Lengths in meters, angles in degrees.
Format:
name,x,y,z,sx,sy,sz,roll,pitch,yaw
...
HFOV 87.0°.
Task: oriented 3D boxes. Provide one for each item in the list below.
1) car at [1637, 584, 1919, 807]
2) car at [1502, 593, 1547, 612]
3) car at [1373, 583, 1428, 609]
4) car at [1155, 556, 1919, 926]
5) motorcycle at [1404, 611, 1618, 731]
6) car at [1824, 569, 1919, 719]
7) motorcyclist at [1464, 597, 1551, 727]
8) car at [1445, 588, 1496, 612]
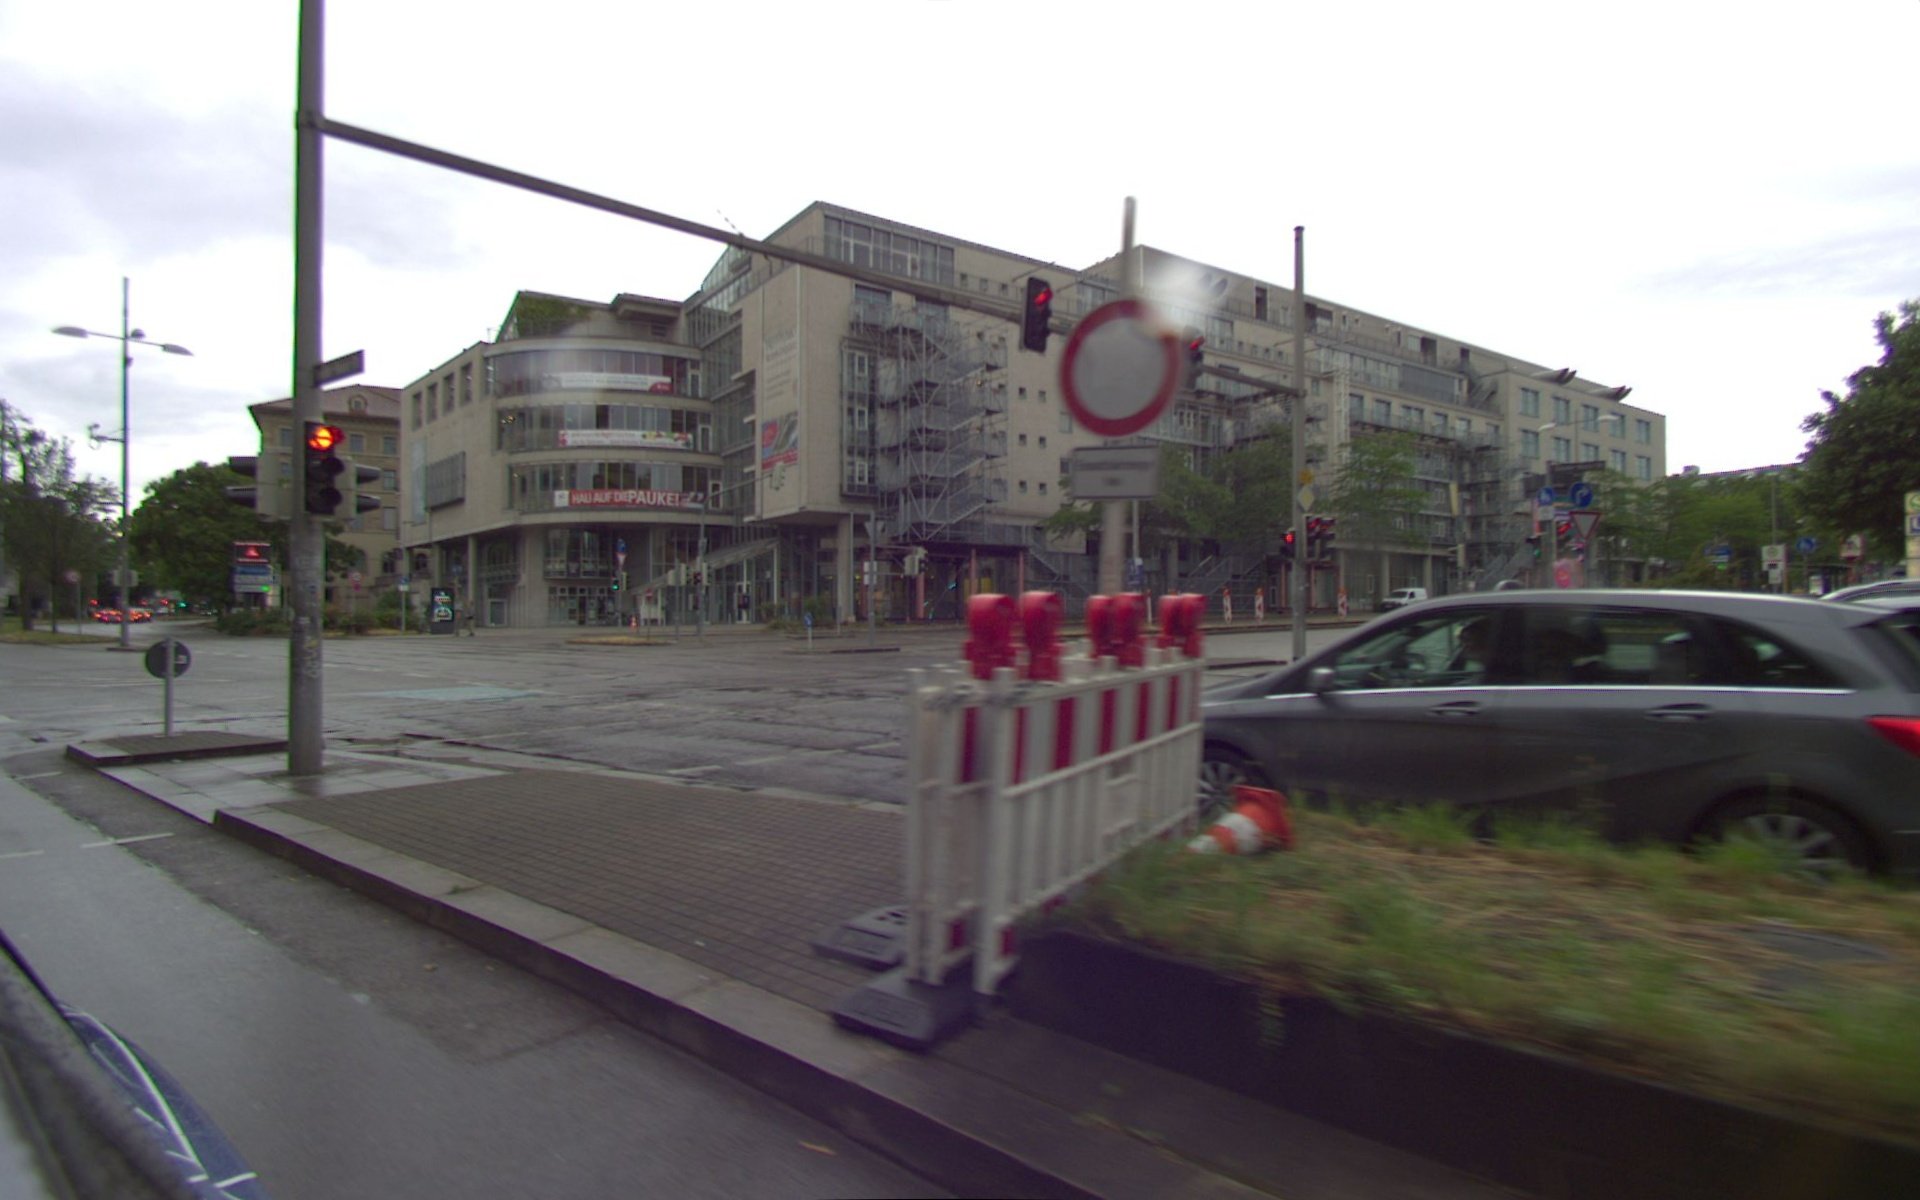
name,x,y,z,sx,sy,sz,roll,pitch,yaw
car,7.090,0.632,7.271,3.432,1.487,1.698,-2,-1,45
car,47.711,0.208,85.530,4.267,1.521,1.762,-1,0,-38
car,32.929,-0.288,75.632,4.267,1.807,2.004,-1,0,-38
car,3.402,0.620,5.659,4.160,1.493,1.825,-3,-2,39
motorcycle,6.233,0.758,11.508,2.041,1.237,0.711,-1,0,38
car,12.124,0.454,10.563,4.661,1.630,1.738,-1,0,42
motorcyclist,6.224,0.678,11.499,0.732,1.402,0.779,-1,-1,38
car,40.485,0.024,80.255,4.267,1.807,2.004,-1,0,-38
